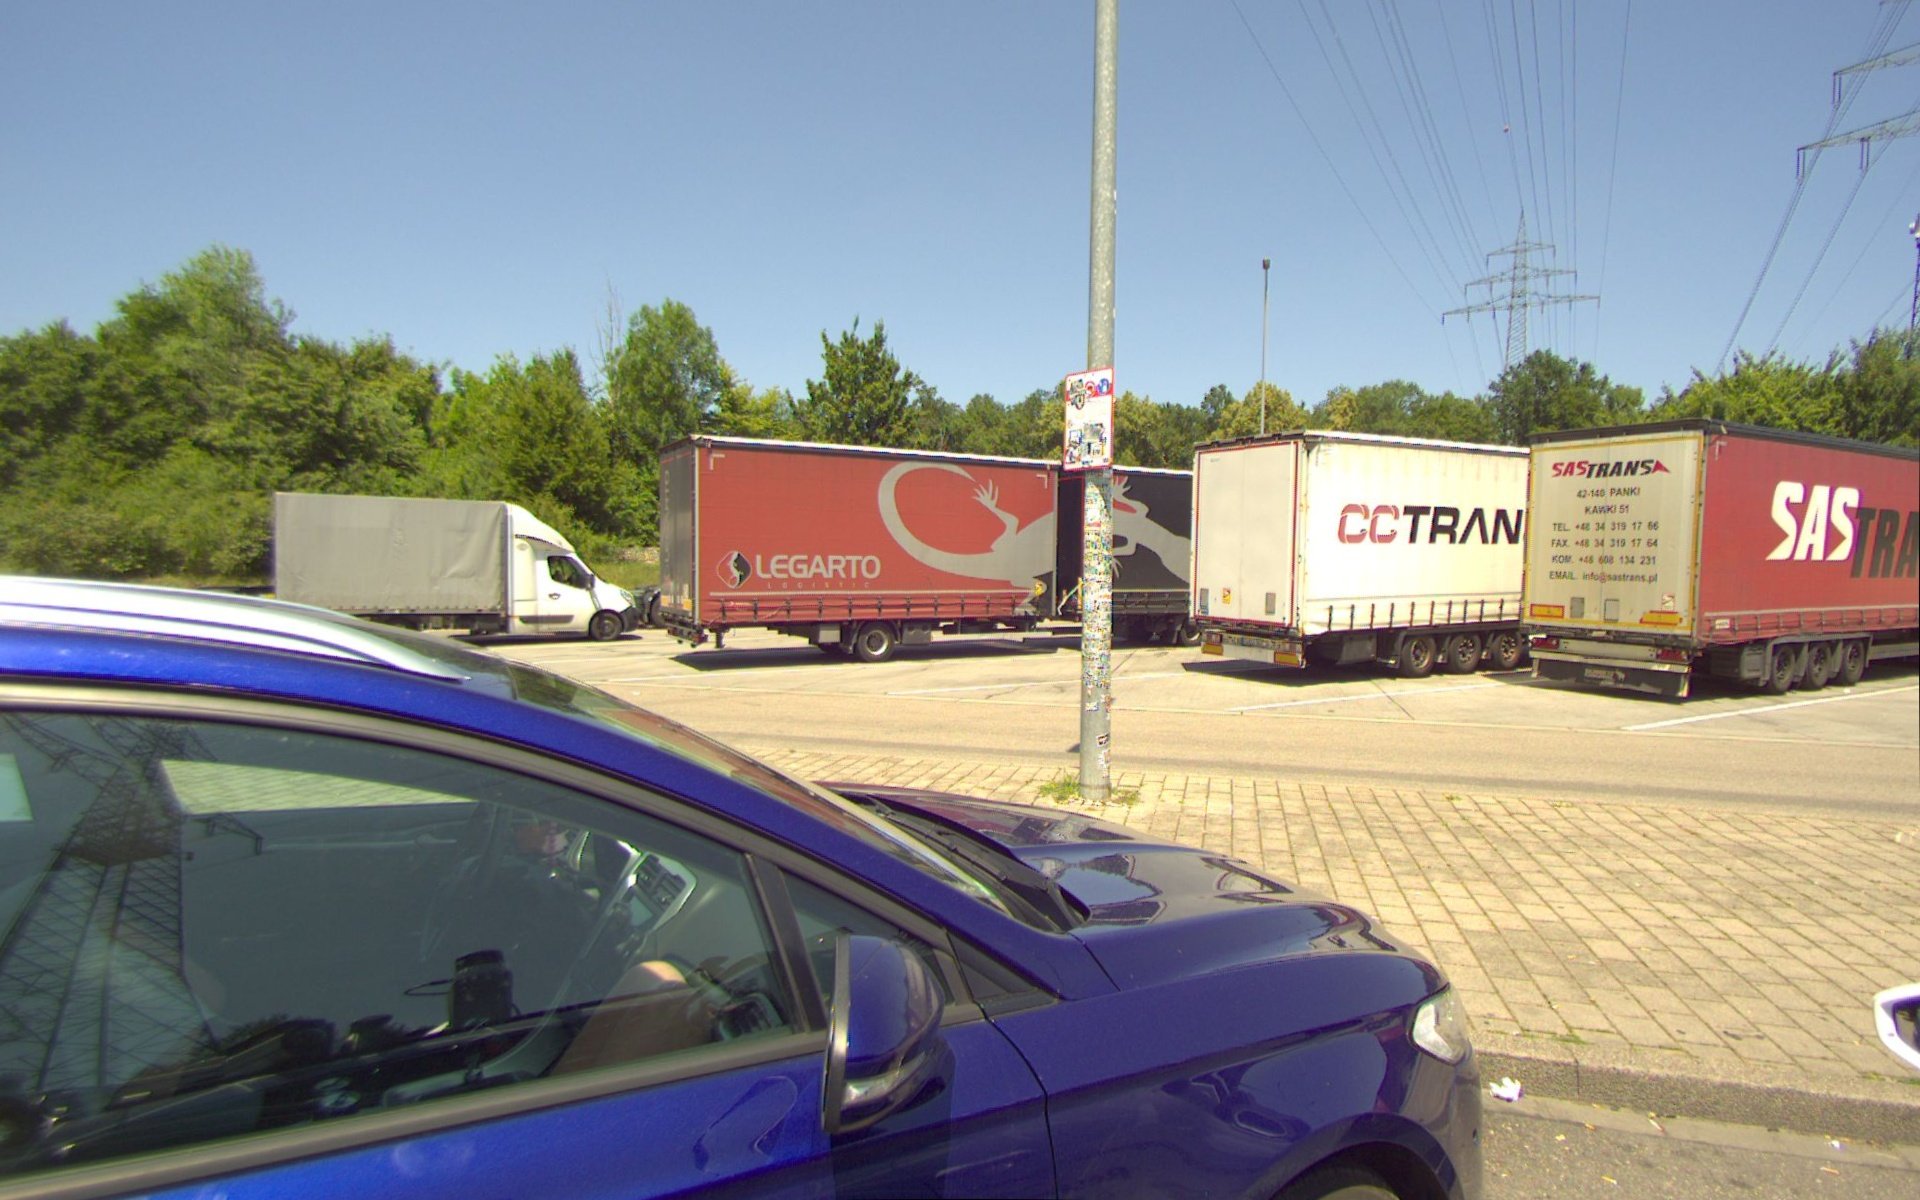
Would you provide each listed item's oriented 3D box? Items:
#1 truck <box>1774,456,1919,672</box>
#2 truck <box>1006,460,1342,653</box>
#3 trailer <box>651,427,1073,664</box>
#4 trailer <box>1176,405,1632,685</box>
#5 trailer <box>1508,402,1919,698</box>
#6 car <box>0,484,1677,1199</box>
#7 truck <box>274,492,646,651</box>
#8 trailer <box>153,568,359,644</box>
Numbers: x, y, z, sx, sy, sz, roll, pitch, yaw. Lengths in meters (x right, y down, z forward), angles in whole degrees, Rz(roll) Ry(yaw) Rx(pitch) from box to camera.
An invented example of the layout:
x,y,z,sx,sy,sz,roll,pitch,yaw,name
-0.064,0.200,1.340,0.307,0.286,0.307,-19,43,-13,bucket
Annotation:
x,y,z,sx,sy,sz,roll,pitch,yaw,name
20.817,-0.679,21.772,6.749,4.136,2.729,0,1,-31,truck
5.400,-0.914,24.583,8.534,4.073,2.624,0,1,-30,truck
-1.792,-0.922,20.311,8.158,4.027,2.651,0,1,-30,trailer
8.710,-0.834,19.108,9.614,4.321,2.733,0,1,-29,trailer
15.267,-0.675,18.489,13.129,4.112,2.736,0,1,-31,trailer
-1.011,0.651,1.466,4.419,1.485,1.765,0,1,-32,car
-11.128,-0.587,22.933,7.265,3.170,2.352,0,1,-30,truck
-16.512,0.143,23.789,3.856,1.684,1.464,0,1,-30,trailer
